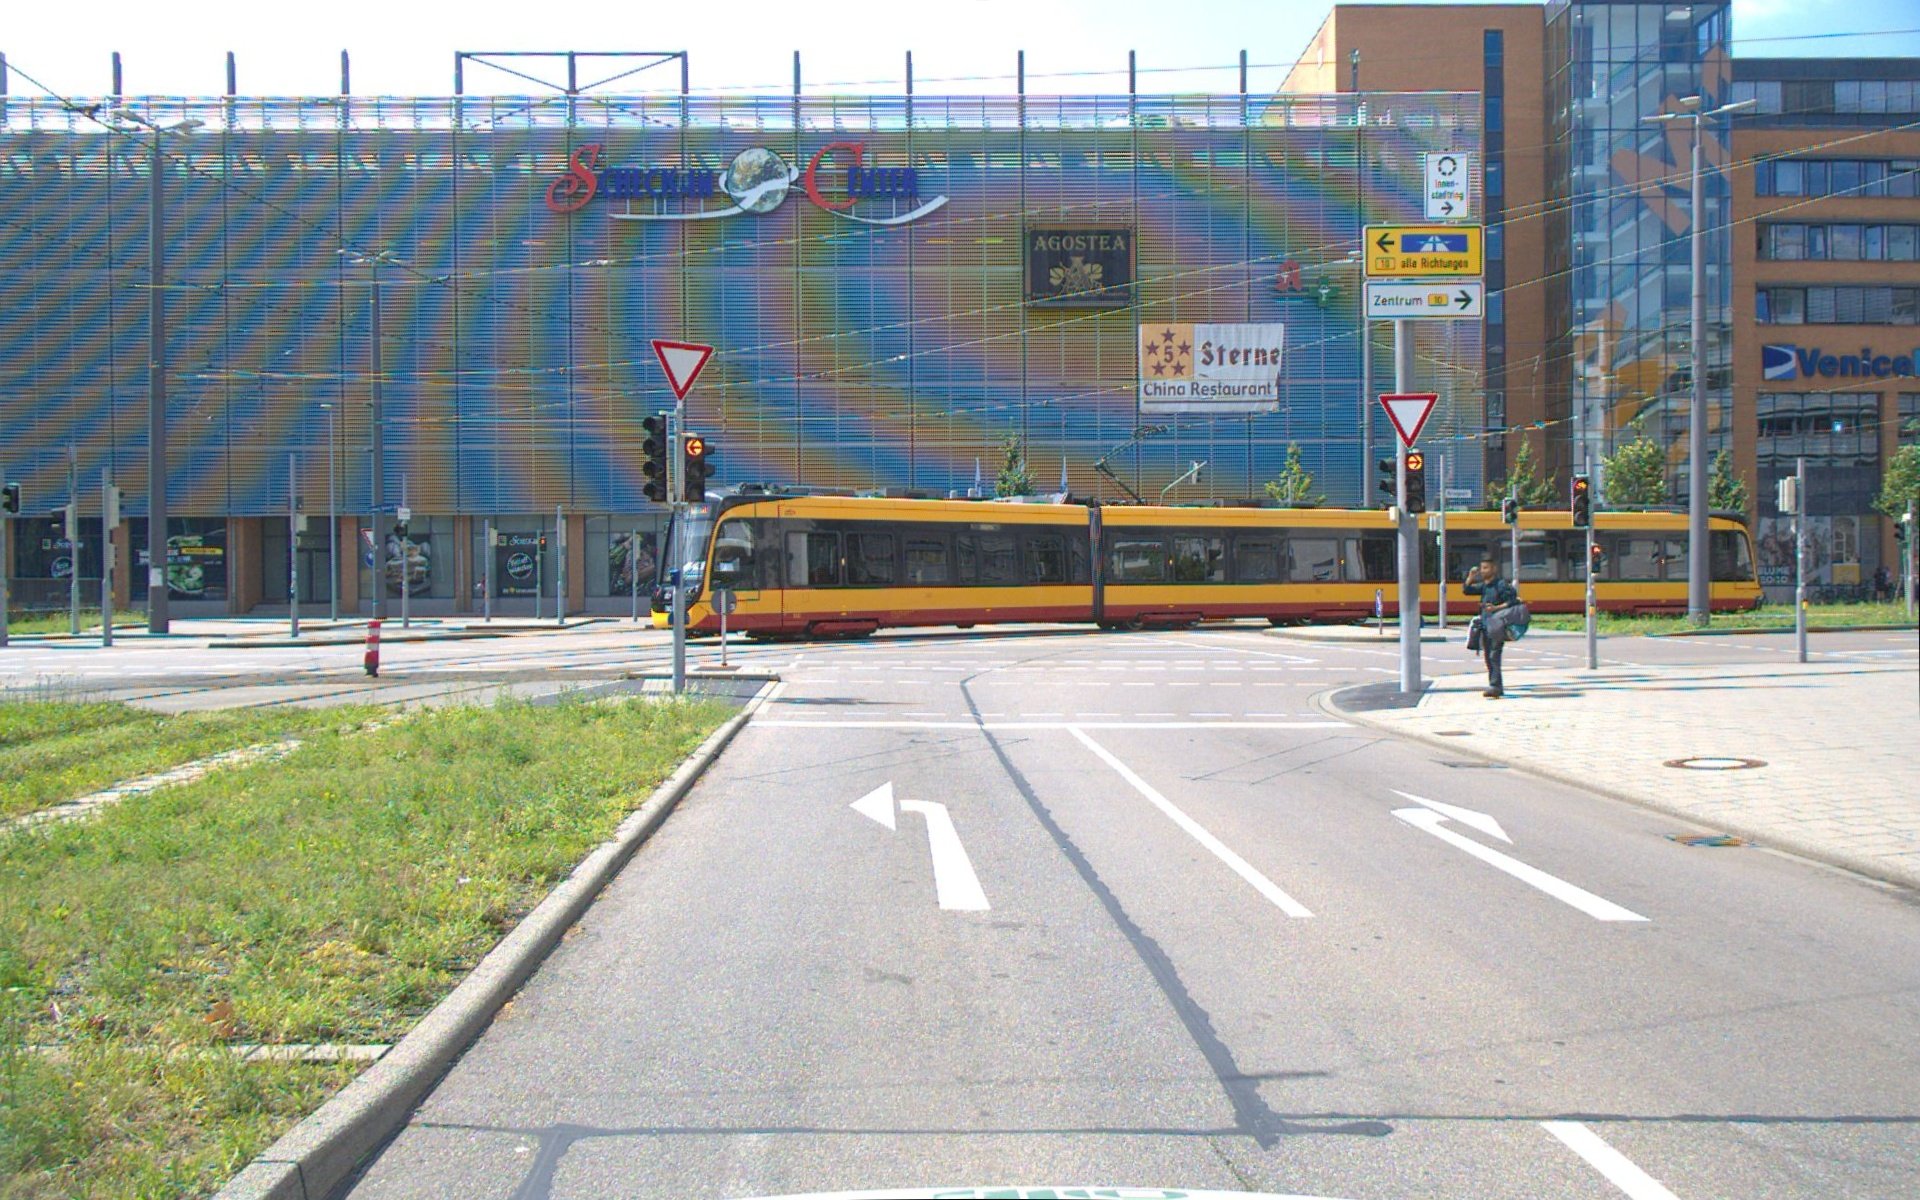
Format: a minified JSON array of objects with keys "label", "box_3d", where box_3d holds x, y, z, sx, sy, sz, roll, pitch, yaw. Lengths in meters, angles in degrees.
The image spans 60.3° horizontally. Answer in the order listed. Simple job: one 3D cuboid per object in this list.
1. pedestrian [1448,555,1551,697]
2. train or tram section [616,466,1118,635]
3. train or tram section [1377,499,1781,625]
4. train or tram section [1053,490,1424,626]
[{"label":"pedestrian","box_3d":[6.800,0.320,20.861,0.797,1.732,0.909,-1,0,-30]},{"label":"train or tram section","box_3d":[-1.855,-1.116,41.366,13.375,3.662,3.180,0,1,-41]},{"label":"train or tram section","box_3d":[19.503,-1.126,52.077,12.380,3.684,3.054,0,1,-14]},{"label":"train or tram section","box_3d":[8.206,-1.141,48.167,10.813,3.666,3.042,0,1,-24]}]
